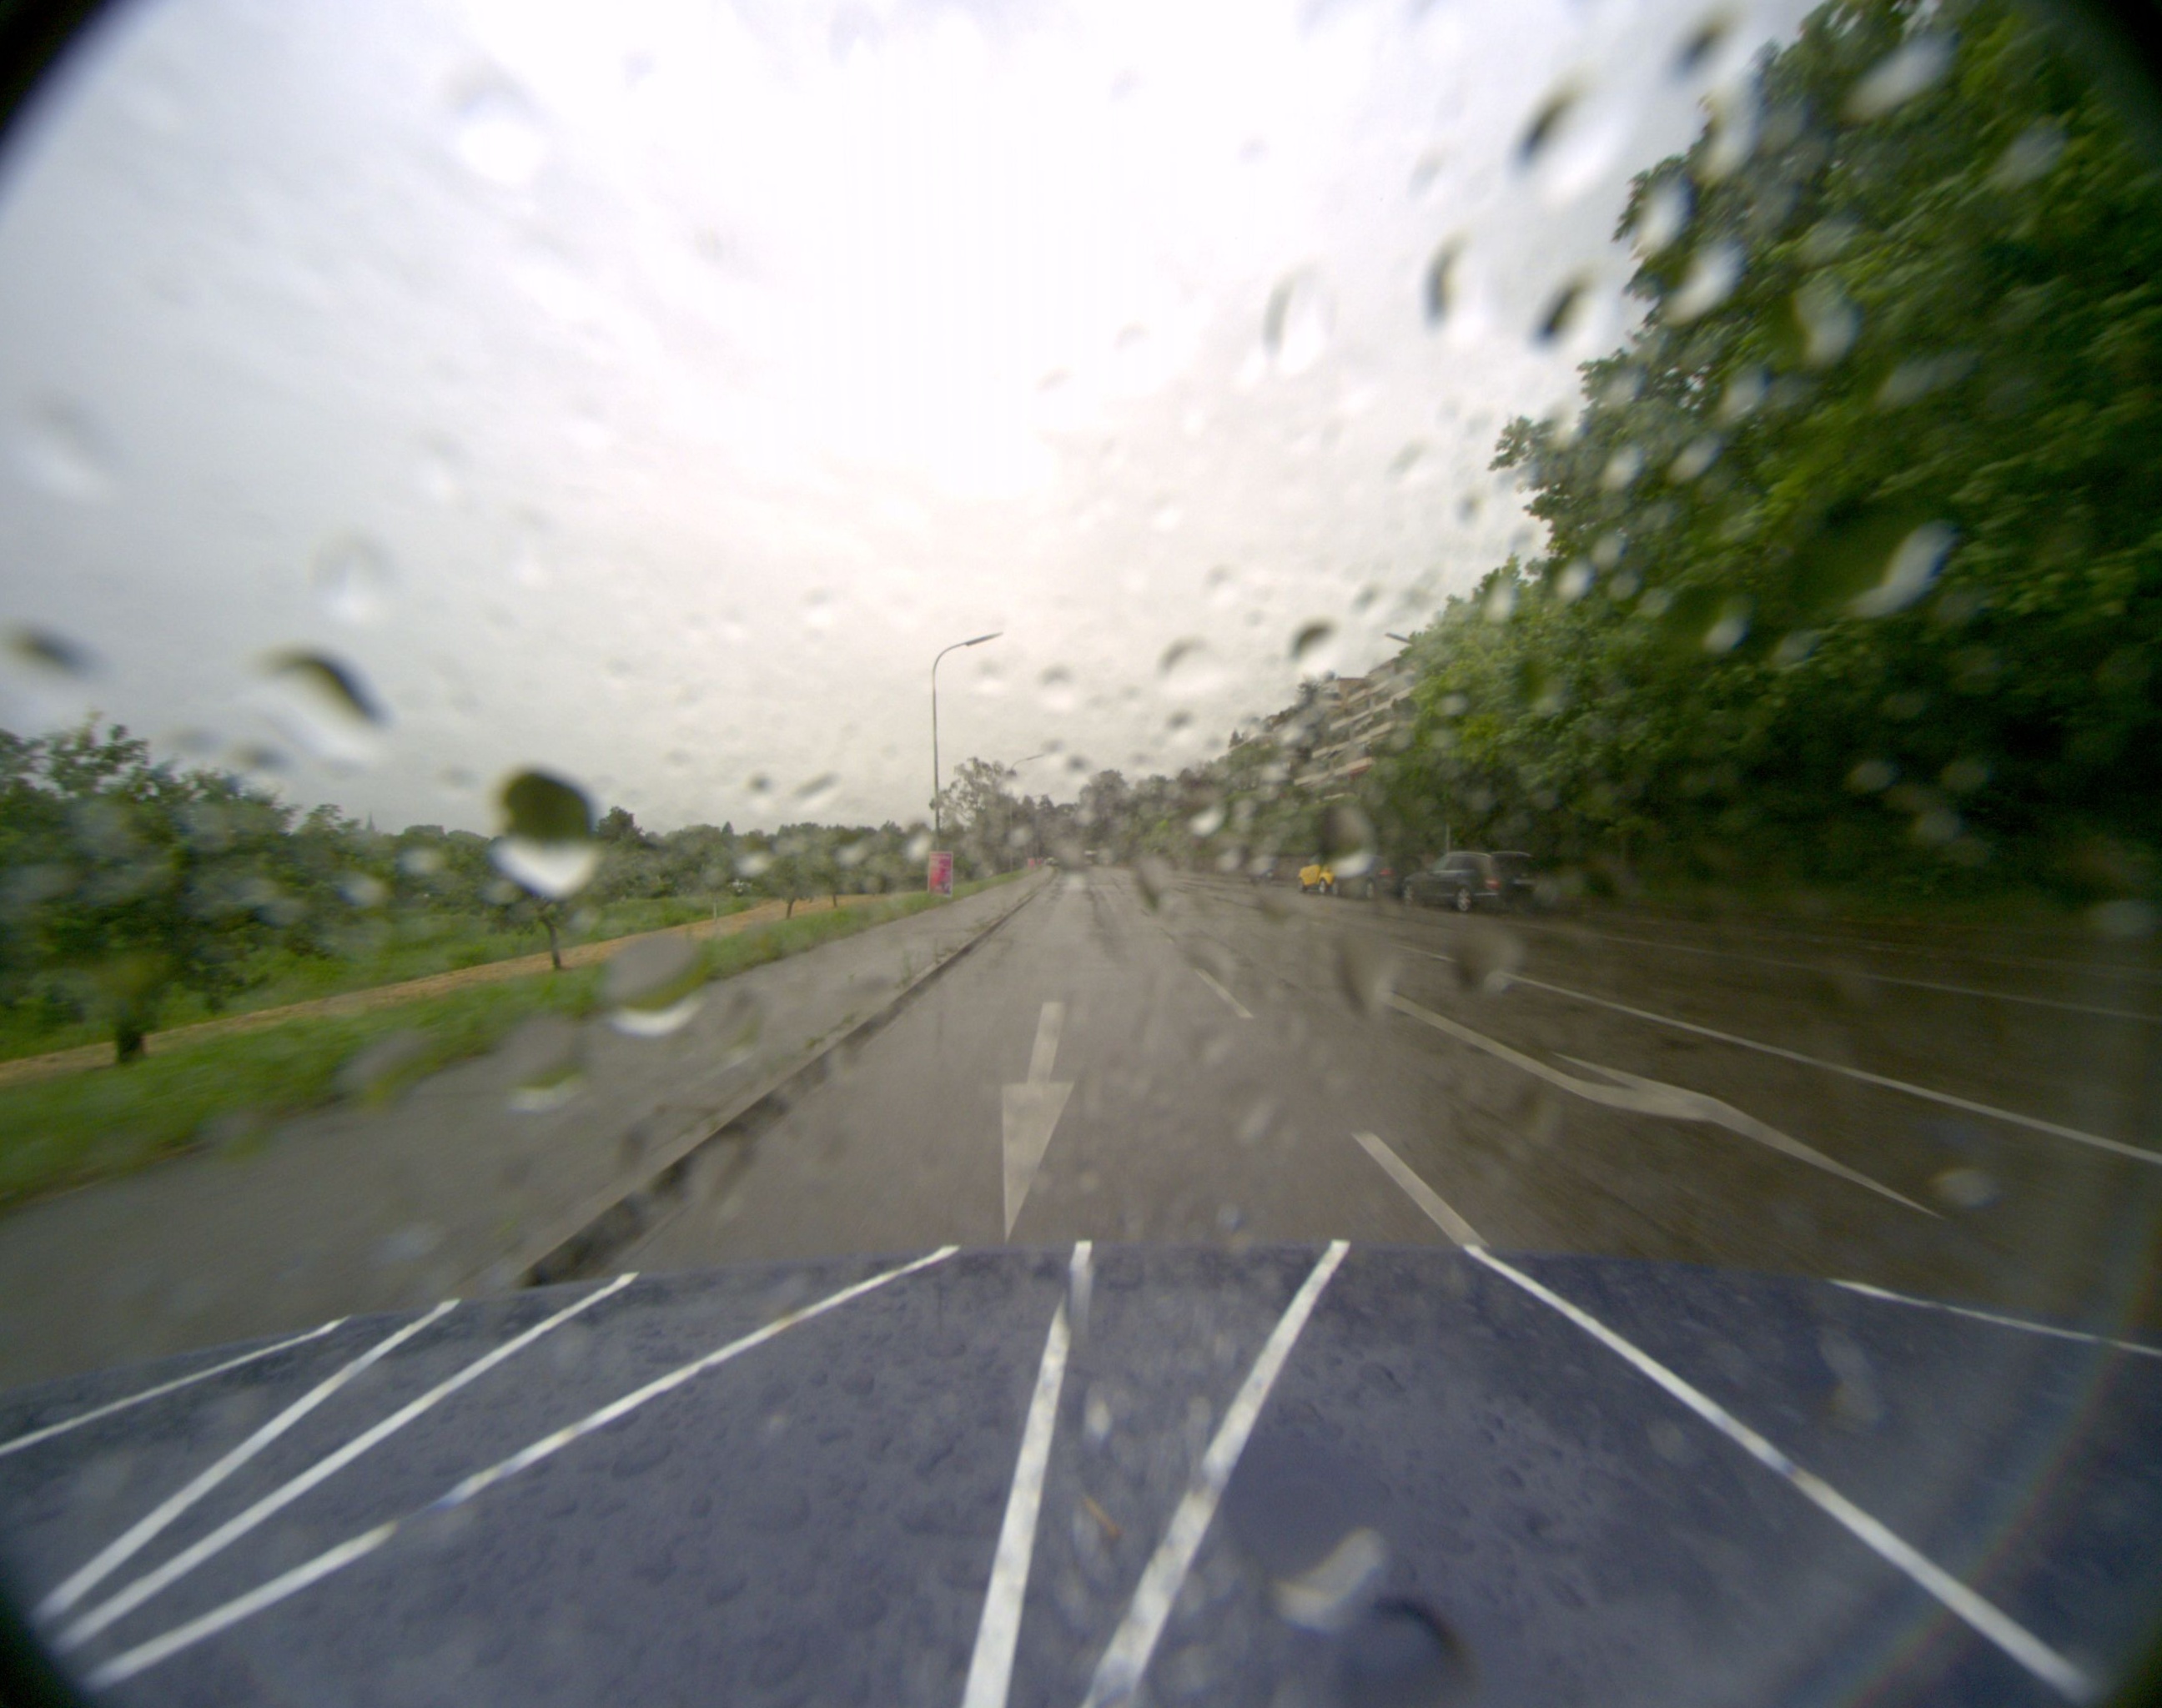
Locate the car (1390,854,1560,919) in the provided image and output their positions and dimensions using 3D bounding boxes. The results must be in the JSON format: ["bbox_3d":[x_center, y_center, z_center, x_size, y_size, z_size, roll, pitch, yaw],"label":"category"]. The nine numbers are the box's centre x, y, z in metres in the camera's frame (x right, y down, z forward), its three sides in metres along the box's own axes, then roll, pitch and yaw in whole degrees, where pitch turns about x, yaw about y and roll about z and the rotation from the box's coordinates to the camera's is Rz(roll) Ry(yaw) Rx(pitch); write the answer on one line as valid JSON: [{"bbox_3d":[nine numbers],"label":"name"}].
[{"bbox_3d":[9.759,0.721,19.315,1.691,1.411,4.740,-1,0,-3],"label":"car"}]

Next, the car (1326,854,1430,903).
[{"bbox_3d":[9.422,0.723,24.479,1.437,1.411,4.101,-1,0,-5],"label":"car"}]

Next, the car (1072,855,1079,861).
[{"bbox_3d":[-1.654,1.142,218.632,1.853,1.583,3.704,-2,0,-3],"label":"car"}]

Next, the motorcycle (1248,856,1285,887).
[{"bbox_3d":[8.651,0.795,35.483,0.840,1.333,2.497,-1,0,-7],"label":"motorcycle"}]

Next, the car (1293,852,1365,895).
[{"bbox_3d":[9.257,0.695,28.495,1.438,1.528,2.817,-1,0,-9],"label":"car"}]

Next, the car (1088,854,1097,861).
[{"bbox_3d":[2.846,0.938,183.492,1.853,1.583,3.704,-2,0,-3],"label":"car"}]

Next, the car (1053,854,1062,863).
[{"bbox_3d":[-5.335,1.021,174.276,1.999,2.001,4.000,-1,-1,-2],"label":"car"}]

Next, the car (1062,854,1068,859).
[{"bbox_3d":[-4.852,0.684,225.463,1.597,1.433,3.703,1,0,-3],"label":"car"}]

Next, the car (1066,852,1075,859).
[{"bbox_3d":[-3.267,0.525,240.490,1.855,2.137,3.701,-2,0,-13],"label":"car"}]
